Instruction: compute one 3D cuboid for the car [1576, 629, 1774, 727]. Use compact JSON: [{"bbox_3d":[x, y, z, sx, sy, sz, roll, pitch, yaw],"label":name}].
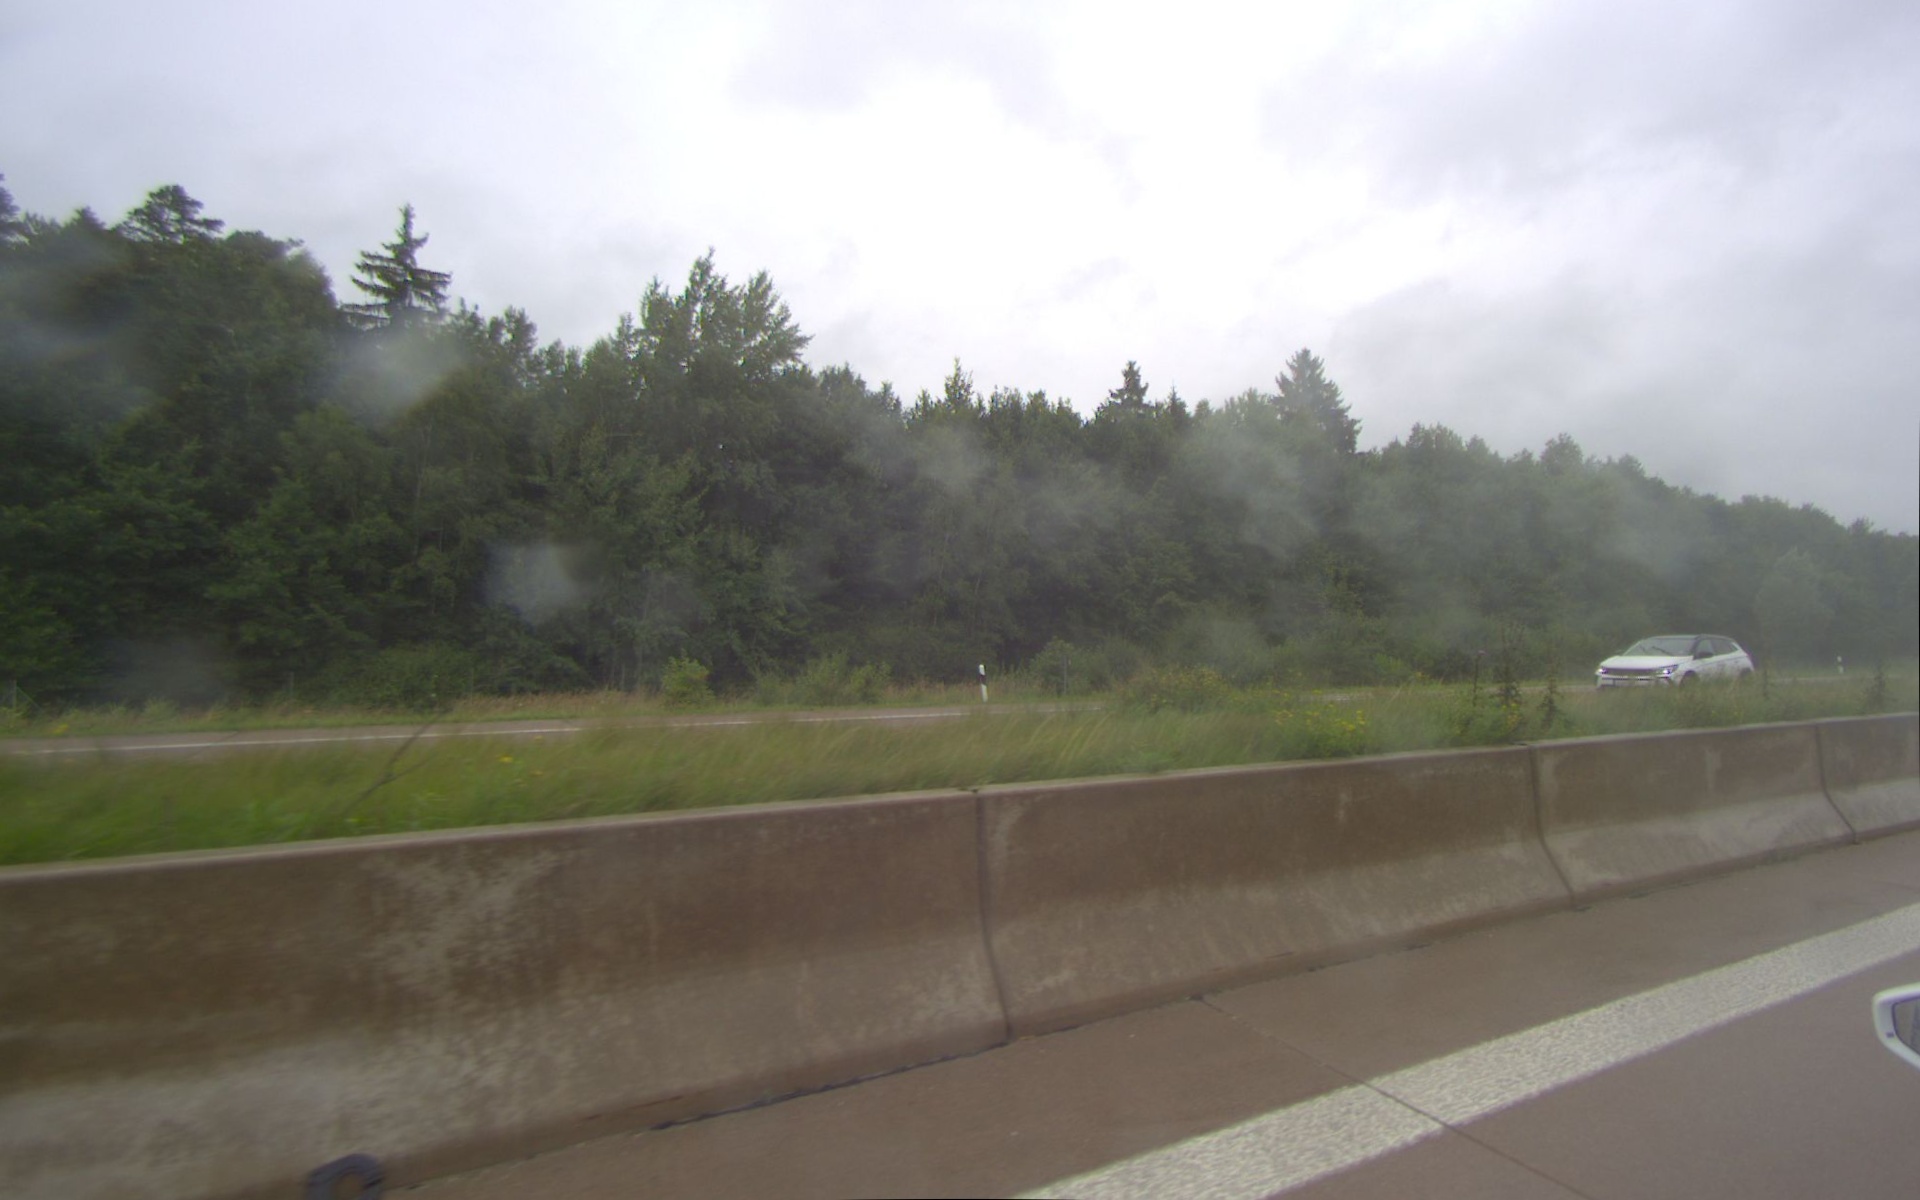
[{"bbox_3d":[16.954,1.766,23.782,4.743,2.040,2.078,2,0,-31],"label":"car"}]
